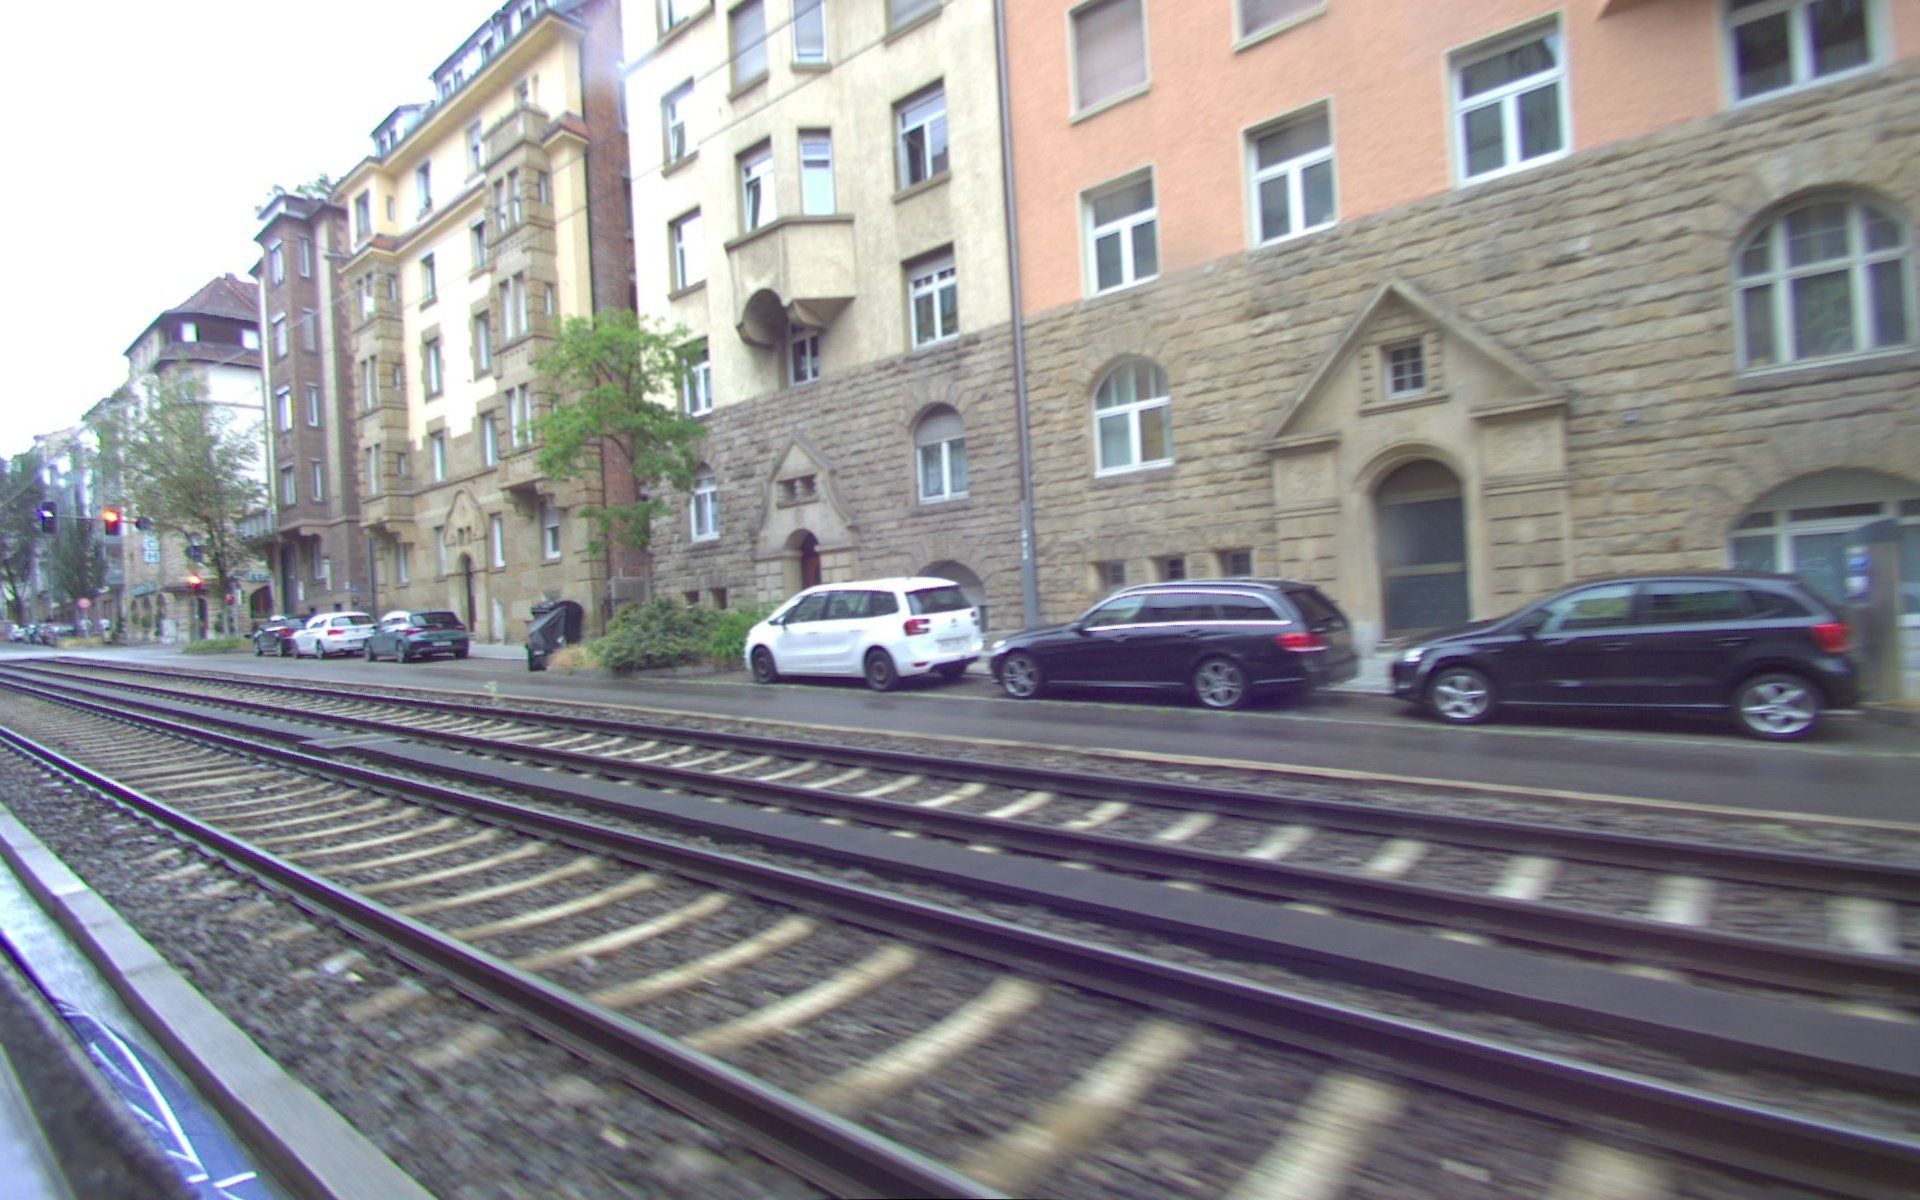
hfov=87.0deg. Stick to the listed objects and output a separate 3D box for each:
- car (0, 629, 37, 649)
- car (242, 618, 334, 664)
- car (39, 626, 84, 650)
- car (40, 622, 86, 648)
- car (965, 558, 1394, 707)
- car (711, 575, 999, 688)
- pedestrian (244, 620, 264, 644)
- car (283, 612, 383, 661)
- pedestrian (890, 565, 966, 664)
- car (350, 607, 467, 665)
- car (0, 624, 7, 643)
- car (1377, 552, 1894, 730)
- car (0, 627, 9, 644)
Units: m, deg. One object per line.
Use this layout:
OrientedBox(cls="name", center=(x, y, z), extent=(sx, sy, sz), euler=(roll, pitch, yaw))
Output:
OrientedBox(cls="car", center=(-72.996, 3.003, 78.429), extent=(4.128, 1.345, 1.685), euler=(-1, 3, 41))
OrientedBox(cls="car", center=(-24.196, 1.429, 36.397), extent=(3.998, 1.497, 1.746), euler=(-1, 1, 42))
OrientedBox(cls="car", center=(-61.777, 2.611, 69.559), extent=(3.523, 1.509, 1.789), euler=(-2, 1, 40))
OrientedBox(cls="car", center=(-58.949, 2.267, 66.492), extent=(3.892, 1.564, 1.747), euler=(-2, 0, 40))
OrientedBox(cls="car", center=(2.654, 0.387, 12.962), extent=(4.968, 1.520, 1.975), euler=(-2, 2, 39))
OrientedBox(cls="car", center=(-1.730, 0.505, 16.248), extent=(4.331, 1.601, 1.773), euler=(-2, 1, 29))
OrientedBox(cls="pedestrian", center=(-42.694, 1.936, 61.205), extent=(0.721, 1.426, 0.808), euler=(-2, 1, 44))
OrientedBox(cls="car", center=(-20.416, 1.155, 32.899), extent=(4.262, 1.436, 1.649), euler=(-2, 0, 42))
OrientedBox(cls="pedestrian", center=(-0.586, 0.260, 18.869), extent=(0.922, 1.766, 0.999), euler=(-2, 2, 34))
OrientedBox(cls="car", center=(-15.824, 1.003, 28.959), extent=(4.144, 1.448, 1.545), euler=(-2, 2, 41))
OrientedBox(cls="car", center=(-81.905, 2.852, 85.367), extent=(4.155, 1.581, 1.758), euler=(-1, 0, 40))
OrientedBox(cls="car", center=(6.335, 0.354, 9.852), extent=(3.878, 1.408, 1.627), euler=(-2, 1, 38))
OrientedBox(cls="car", center=(-86.954, 3.212, 90.742), extent=(4.465, 1.451, 1.887), euler=(-1, 0, 40))
